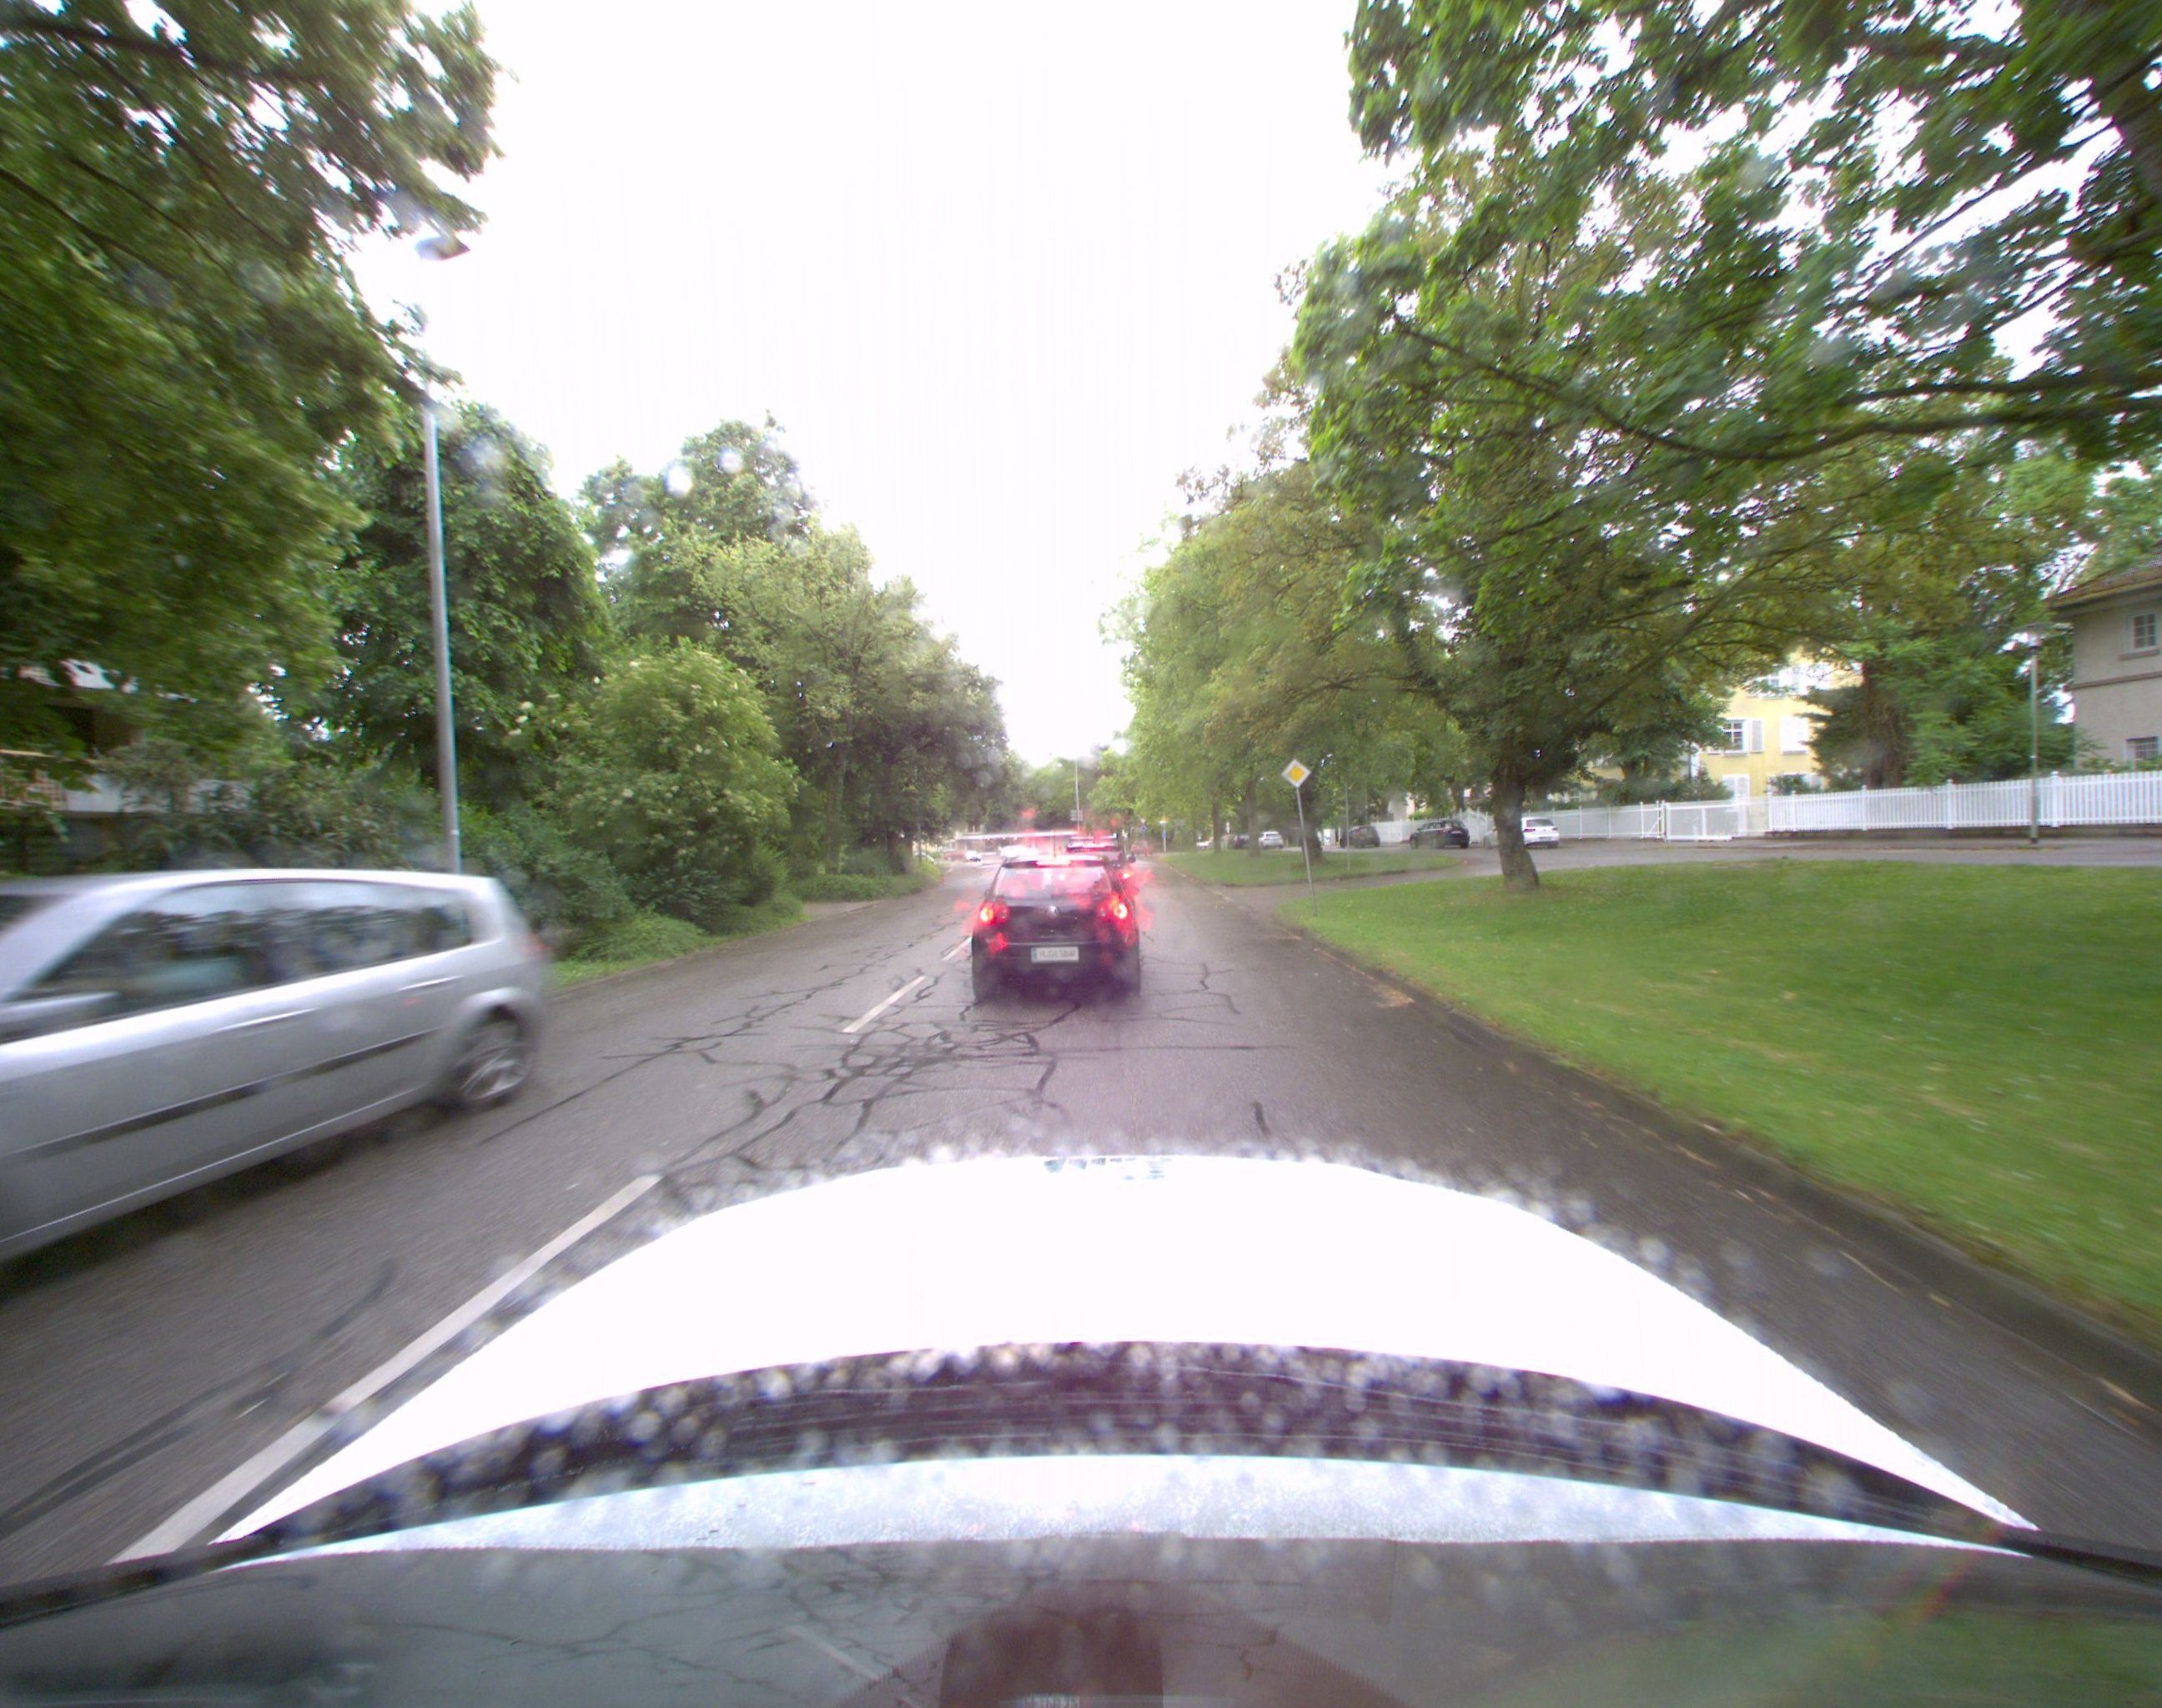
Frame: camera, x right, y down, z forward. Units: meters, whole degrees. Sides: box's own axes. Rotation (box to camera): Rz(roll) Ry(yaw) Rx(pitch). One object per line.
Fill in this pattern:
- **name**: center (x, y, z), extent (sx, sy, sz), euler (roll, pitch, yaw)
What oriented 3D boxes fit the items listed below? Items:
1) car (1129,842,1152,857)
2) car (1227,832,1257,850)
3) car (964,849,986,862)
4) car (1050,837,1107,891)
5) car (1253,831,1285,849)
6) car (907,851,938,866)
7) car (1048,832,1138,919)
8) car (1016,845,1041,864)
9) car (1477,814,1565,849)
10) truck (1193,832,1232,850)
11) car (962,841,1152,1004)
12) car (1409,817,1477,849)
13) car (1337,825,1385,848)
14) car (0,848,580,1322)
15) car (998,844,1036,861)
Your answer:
- **car**: center (6.504, -0.541, 88.747), extent (1.693, 1.513, 3.689), euler (-3, 0, 15)
- **car**: center (13.724, -1.139, 69.750), extent (1.797, 1.385, 4.002), euler (-5, 1, 2)
- **car**: center (-13.107, 0.171, 100.204), extent (1.803, 1.393, 3.953), euler (-5, 1, -19)
- **car**: center (-0.005, 0.328, 29.919), extent (1.848, 1.784, 4.002), euler (-3, 0, 2)
- **car**: center (16.088, -1.202, 69.865), extent (1.797, 1.406, 4.002), euler (-5, 1, 2)
- **car**: center (-16.869, 0.481, 86.575), extent (3.119, 1.310, 1.535), euler (-4, 0, -10)
- **car**: center (0.334, 0.435, 19.373), extent (1.848, 1.784, 4.002), euler (-3, 1, 2)
- **car**: center (-4.474, 0.028, 68.732), extent (1.608, 1.427, 3.994), euler (-4, 2, -11)
- **car**: center (20.070, -1.010, 37.344), extent (1.613, 1.409, 4.005), euler (-4, 1, -3)
- **truck**: center (16.659, -1.677, 102.958), extent (2.393, 2.004, 5.183), euler (-3, 0, 42)
- **car**: center (-0.162, 0.650, 9.691), extent (1.792, 1.515, 3.755), euler (-2, 0, 2)
- **car**: center (19.825, -1.152, 44.760), extent (1.796, 1.529, 4.111), euler (-4, 1, -1)
- **car**: center (19.477, -1.245, 56.857), extent (1.796, 1.411, 4.111), euler (-4, 1, -1)
- **car**: center (-4.601, 0.838, 3.852), extent (1.758, 1.614, 4.141), euler (-4, 0, 1)
- **car**: center (-6.975, -0.160, 88.372), extent (3.754, 1.618, 1.789), euler (-2, 0, 33)
